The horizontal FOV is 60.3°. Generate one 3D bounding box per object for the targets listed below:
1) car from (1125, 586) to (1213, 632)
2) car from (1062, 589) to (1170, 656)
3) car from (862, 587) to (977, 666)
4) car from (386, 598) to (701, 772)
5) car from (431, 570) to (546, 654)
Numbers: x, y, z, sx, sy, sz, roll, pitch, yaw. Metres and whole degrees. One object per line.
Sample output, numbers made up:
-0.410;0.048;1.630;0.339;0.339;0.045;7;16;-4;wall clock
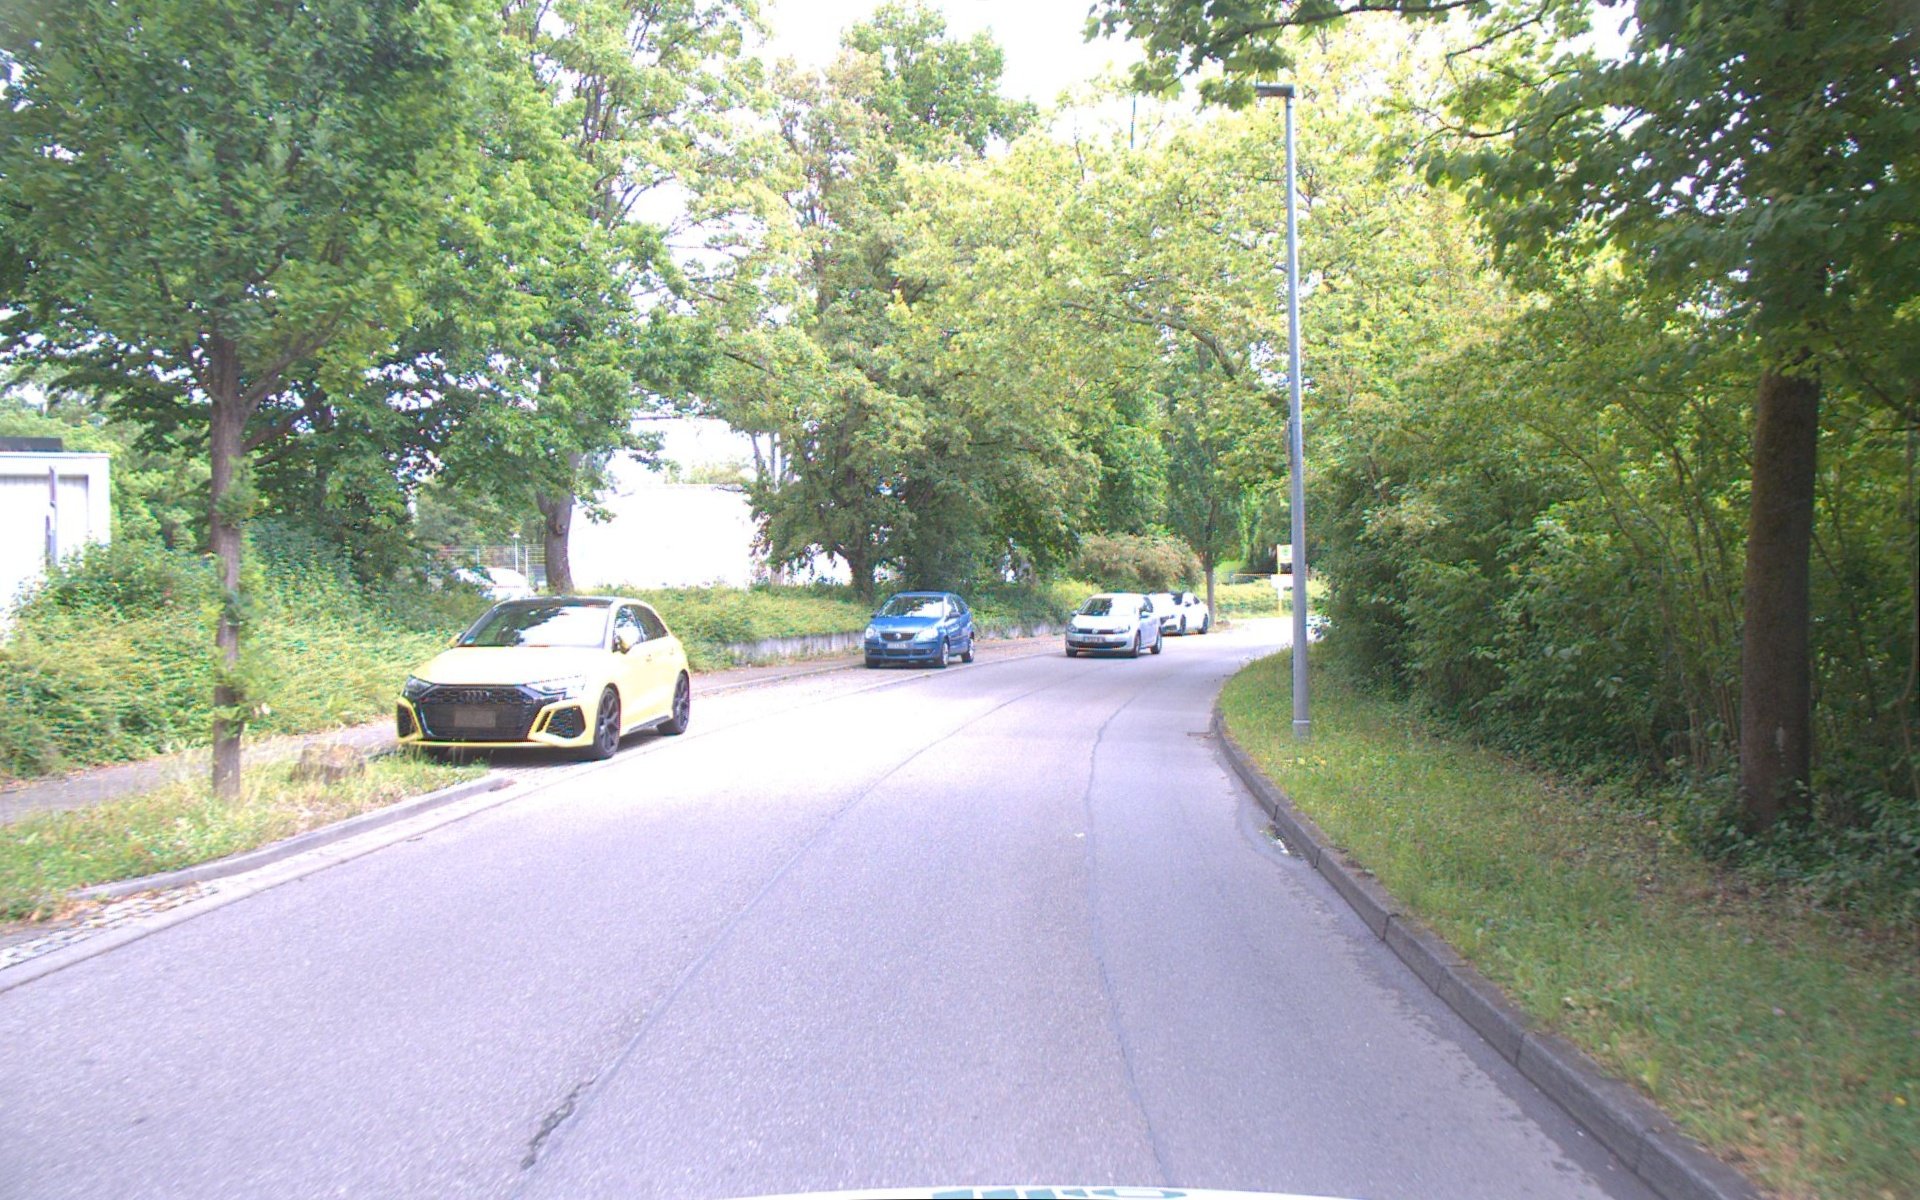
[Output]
7.027;0.252;55.222;1.777;1.449;4.359;1;1;23;car
3.838;0.498;40.068;1.641;1.488;4.062;1;1;20;car
-0.763;0.500;33.536;1.500;1.484;3.723;-1;1;12;car
-3.798;0.702;15.872;1.664;1.427;4.275;0;0;4;car
-10.156;0.235;35.458;1.719;1.650;3.841;-2;1;-26;car
